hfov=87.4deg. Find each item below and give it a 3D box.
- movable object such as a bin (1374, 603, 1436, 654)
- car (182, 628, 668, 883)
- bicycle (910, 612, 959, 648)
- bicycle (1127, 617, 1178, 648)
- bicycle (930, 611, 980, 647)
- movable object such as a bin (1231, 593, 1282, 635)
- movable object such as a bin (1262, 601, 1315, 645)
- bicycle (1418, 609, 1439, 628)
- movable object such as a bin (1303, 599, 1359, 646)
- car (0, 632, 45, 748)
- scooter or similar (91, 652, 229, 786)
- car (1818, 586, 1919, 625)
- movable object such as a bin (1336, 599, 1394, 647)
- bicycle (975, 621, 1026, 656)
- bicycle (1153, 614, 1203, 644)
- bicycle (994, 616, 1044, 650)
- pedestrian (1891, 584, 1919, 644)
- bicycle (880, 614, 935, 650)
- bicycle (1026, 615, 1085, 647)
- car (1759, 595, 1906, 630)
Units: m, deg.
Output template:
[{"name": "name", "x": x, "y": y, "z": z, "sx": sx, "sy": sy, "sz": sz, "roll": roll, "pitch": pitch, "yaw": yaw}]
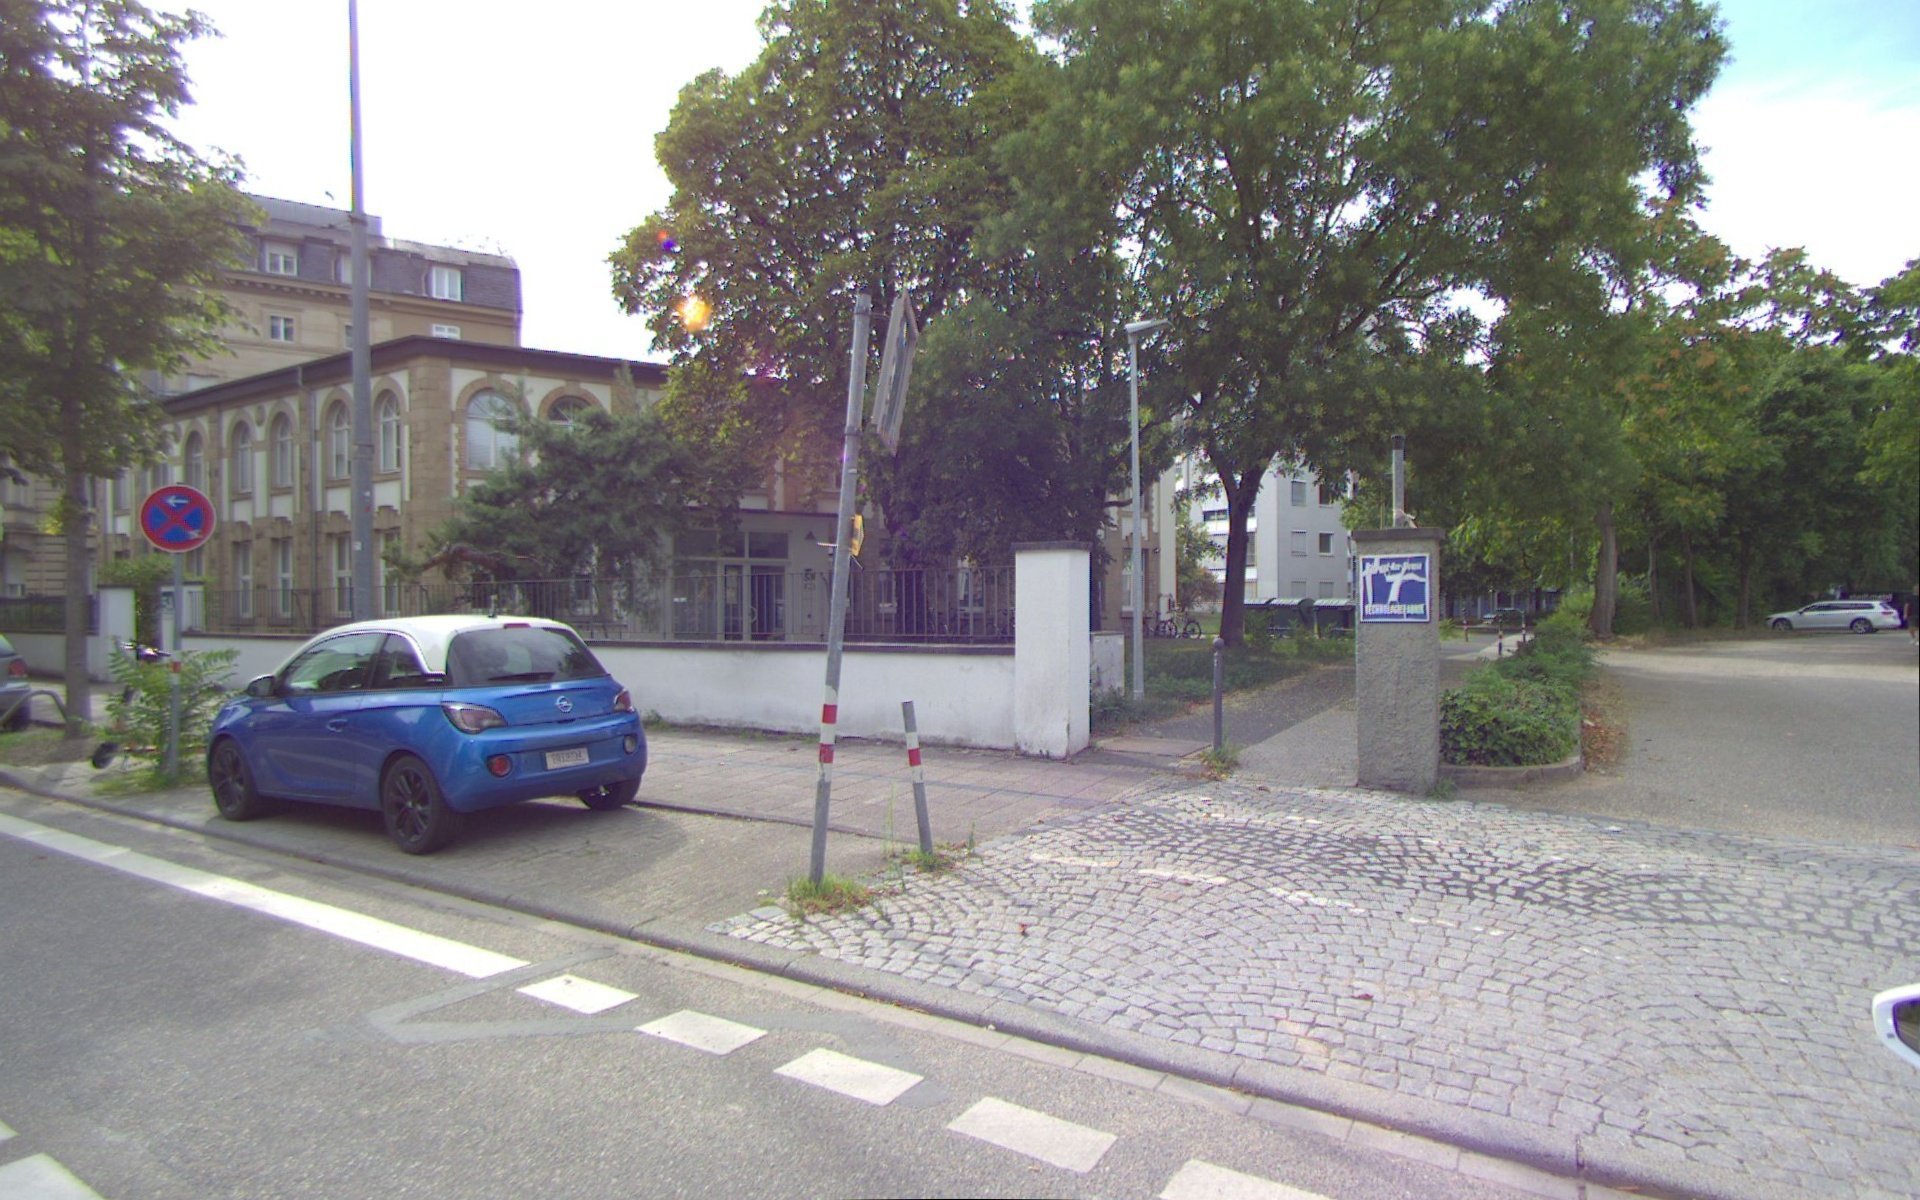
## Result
[{"name": "movable object such as a bin", "x": 13.160, "y": 0.824, "z": 29.721, "sx": 1.109, "sy": 1.449, "sz": 1.273, "roll": 0, "pitch": 0, "yaw": -32}, {"name": "car", "x": -4.094, "y": 0.977, "z": 7.600, "sx": 3.538, "sy": 1.484, "sz": 1.630, "roll": -1, "pitch": 0, "yaw": 30}, {"name": "bicycle", "x": -0.806, "y": 0.917, "z": 31.126, "sx": 0.588, "sy": 1.057, "sz": 1.959, "roll": -1, "pitch": 0, "yaw": -34}, {"name": "bicycle", "x": 6.875, "y": 1.144, "z": 35.983, "sx": 0.588, "sy": 1.057, "sz": 1.959, "roll": -1, "pitch": 0, "yaw": -34}, {"name": "bicycle", "x": -0.185, "y": 0.898, "z": 31.594, "sx": 0.588, "sy": 1.057, "sz": 1.959, "roll": -1, "pitch": 0, "yaw": -34}, {"name": "movable object such as a bin", "x": 10.280, "y": 0.475, "z": 34.829, "sx": 1.109, "sy": 1.449, "sz": 1.273, "roll": 0, "pitch": 0, "yaw": -32}, {"name": "movable object such as a bin", "x": 11.007, "y": 0.758, "z": 33.659, "sx": 1.109, "sy": 1.449, "sz": 1.273, "roll": 0, "pitch": 0, "yaw": -32}, {"name": "bicycle", "x": 30.240, "y": 1.183, "z": 64.874, "sx": 0.643, "sy": 1.197, "sz": 1.888, "roll": 0, "pitch": 0, "yaw": 45}, {"name": "movable object such as a bin", "x": 11.953, "y": 0.708, "z": 32.366, "sx": 1.109, "sy": 1.449, "sz": 1.273, "roll": 0, "pitch": 0, "yaw": -32}, {"name": "car", "x": -14.056, "y": 1.199, "z": 13.498, "sx": 3.510, "sy": 1.484, "sz": 1.630, "roll": -1, "pitch": 0, "yaw": 30}, {"name": "scooter or similar", "x": -7.896, "y": 1.149, "z": 9.954, "sx": 0.995, "sy": 1.183, "sz": 0.365, "roll": -4, "pitch": 2, "yaw": -36}, {"name": "car", "x": 48.404, "y": 0.294, "z": 52.561, "sx": 1.979, "sy": 1.979, "sz": 5.016, "roll": 0, "pitch": 0, "yaw": -33}, {"name": "movable object such as a bin", "x": 12.551, "y": 0.700, "z": 31.146, "sx": 1.109, "sy": 1.449, "sz": 1.273, "roll": 0, "pitch": 0, "yaw": -32}, {"name": "bicycle", "x": 1.294, "y": 1.217, "z": 32.403, "sx": 0.588, "sy": 1.057, "sz": 1.959, "roll": -1, "pitch": 0, "yaw": -34}, {"name": "bicycle", "x": 7.965, "y": 1.057, "z": 36.770, "sx": 0.588, "sy": 1.057, "sz": 1.959, "roll": -1, "pitch": 0, "yaw": -34}, {"name": "bicycle", "x": 1.912, "y": 1.065, "z": 32.875, "sx": 0.588, "sy": 1.057, "sz": 1.959, "roll": -1, "pitch": 0, "yaw": -34}, {"name": "pedestrian", "x": 28.935, "y": 0.417, "z": 30.595, "sx": 0.724, "sy": 1.813, "sz": 0.742, "roll": 0, "pitch": 0, "yaw": -37}, {"name": "bicycle", "x": -1.621, "y": 0.954, "z": 30.716, "sx": 0.590, "sy": 1.057, "sz": 1.954, "roll": -1, "pitch": 0, "yaw": -41}, {"name": "bicycle", "x": 3.228, "y": 1.058, "z": 34.131, "sx": 1.944, "sy": 1.057, "sz": 0.593, "roll": -1, "pitch": 0, "yaw": 33}, {"name": "car", "x": 39.501, "y": 0.550, "z": 45.591, "sx": 1.981, "sy": 1.508, "sz": 4.757, "roll": 0, "pitch": 0, "yaw": -37}]
